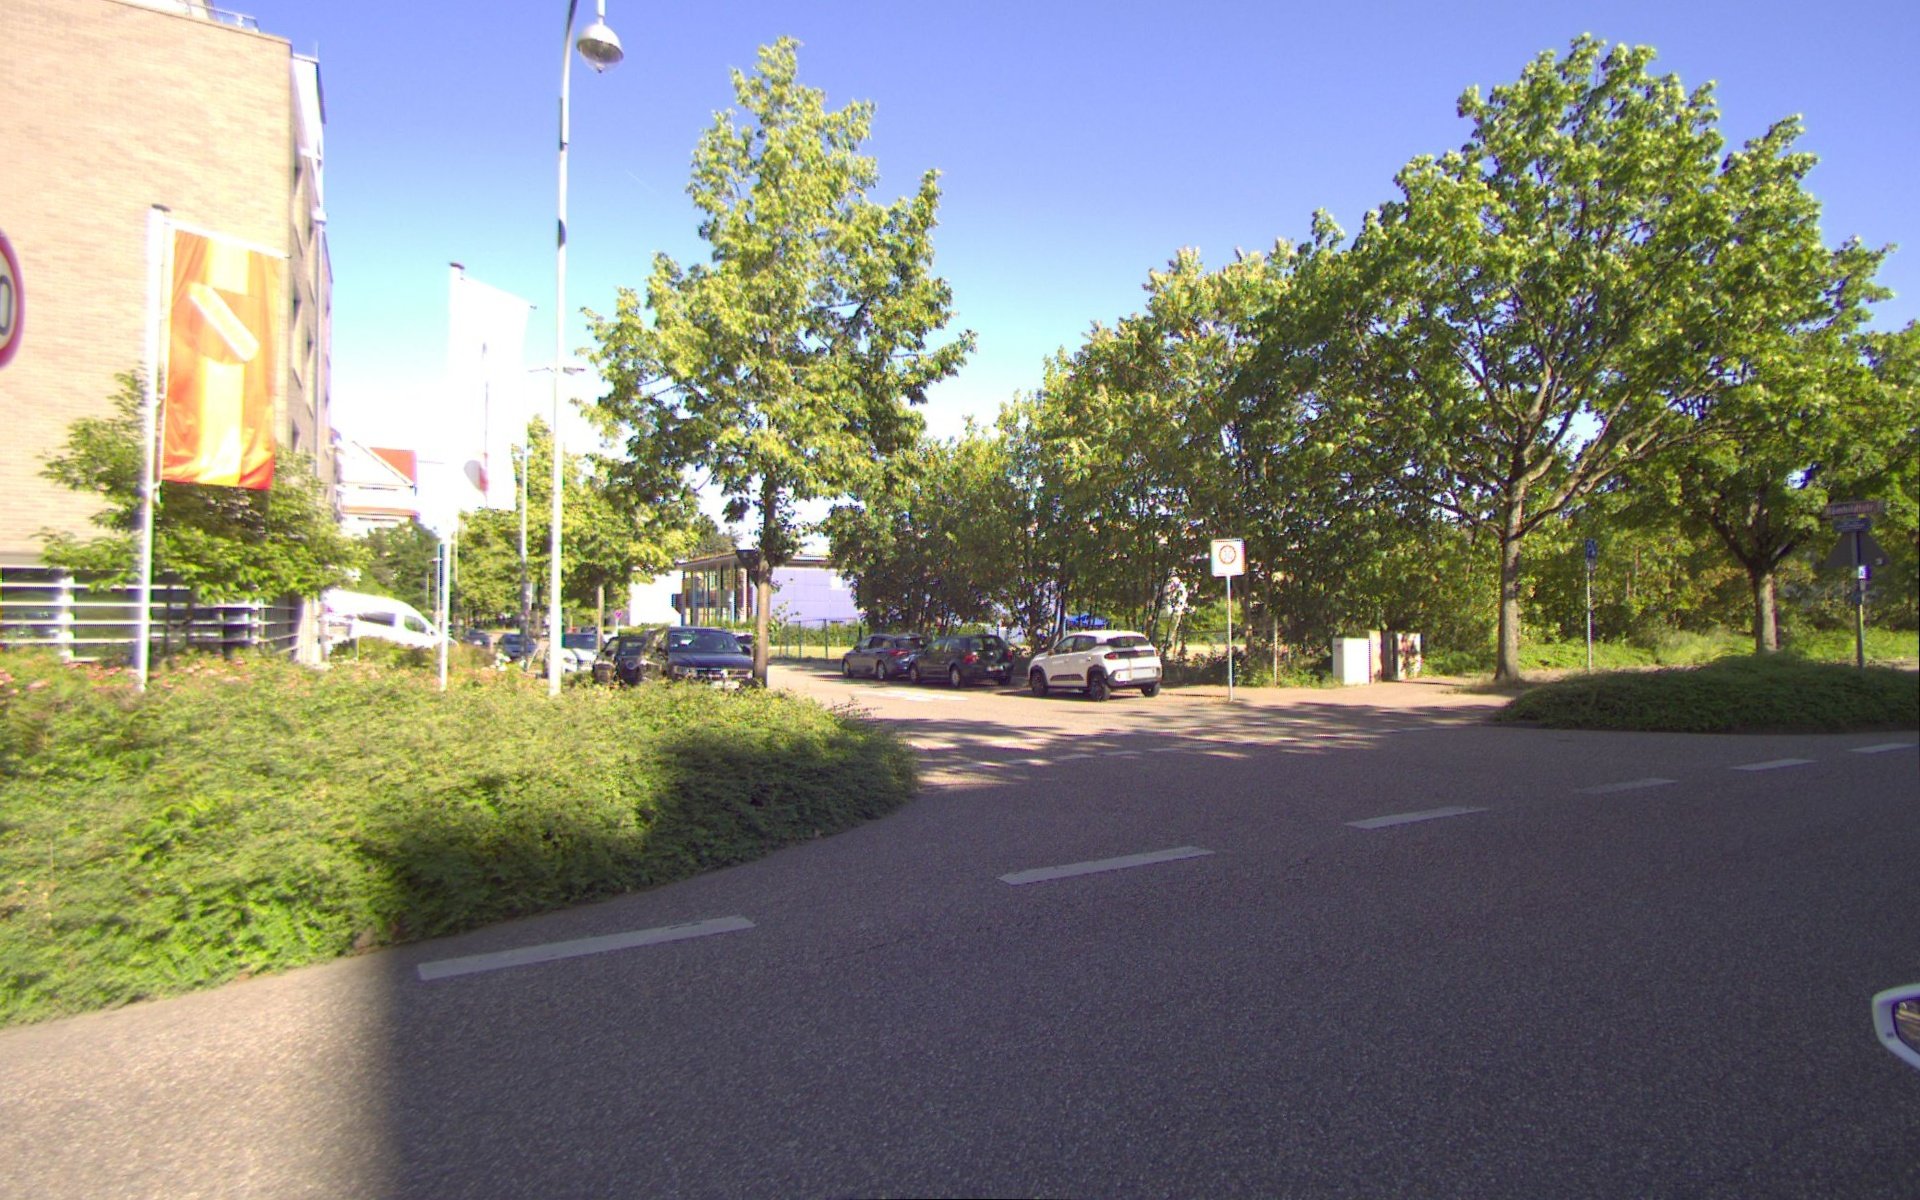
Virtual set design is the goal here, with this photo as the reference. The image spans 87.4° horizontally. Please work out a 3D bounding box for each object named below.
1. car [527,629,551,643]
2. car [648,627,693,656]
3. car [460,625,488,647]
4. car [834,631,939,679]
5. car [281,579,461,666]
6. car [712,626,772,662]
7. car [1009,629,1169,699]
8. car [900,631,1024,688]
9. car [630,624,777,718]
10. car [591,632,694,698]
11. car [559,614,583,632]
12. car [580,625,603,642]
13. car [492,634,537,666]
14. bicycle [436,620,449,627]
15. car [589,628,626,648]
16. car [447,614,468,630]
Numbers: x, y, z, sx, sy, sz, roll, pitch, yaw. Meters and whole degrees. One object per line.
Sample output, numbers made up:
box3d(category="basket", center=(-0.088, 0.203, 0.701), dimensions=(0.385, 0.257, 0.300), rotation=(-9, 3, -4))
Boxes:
box3d(category="car", center=(-46.181, 3.985, 110.190), dimensions=(1.976, 1.505, 3.969), rotation=(1, -2, -30))
box3d(category="car", center=(-16.901, 2.396, 58.642), dimensions=(1.665, 1.562, 3.818), rotation=(1, -1, -30))
box3d(category="car", center=(-36.147, 2.658, 74.708), dimensions=(1.744, 1.547, 3.974), rotation=(4, -3, -26))
box3d(category="car", center=(-2.493, 1.741, 32.905), dimensions=(1.662, 1.456, 4.403), rotation=(1, -2, -31))
box3d(category="car", center=(-21.906, 0.895, 37.554), dimensions=(5.412, 2.412, 1.904), rotation=(11, -7, -33))
box3d(category="car", center=(-10.293, 2.055, 47.271), dimensions=(1.648, 1.533, 3.969), rotation=(1, -1, -29))
box3d(category="car", center=(2.865, 1.443, 23.154), dimensions=(1.604, 1.469, 4.062), rotation=(1, -3, -28))
box3d(category="car", center=(-0.015, 1.638, 28.630), dimensions=(1.809, 1.491, 4.037), rotation=(1, -2, -29))
box3d(category="car", center=(-5.201, 1.339, 19.951), dimensions=(1.870, 1.641, 4.308), rotation=(1, -3, -28))
box3d(category="car", center=(-8.080, 1.582, 25.364), dimensions=(1.566, 1.524, 3.756), rotation=(1, -2, -33))
box3d(category="car", center=(-45.612, 2.697, 117.699), dimensions=(2.006, 2.040, 3.969), rotation=(1, -1, -30))
box3d(category="car", center=(-43.970, 4.009, 119.908), dimensions=(1.976, 2.040, 3.969), rotation=(1, -2, -30))
box3d(category="car", center=(-22.099, 2.453, 49.756), dimensions=(1.598, 1.484, 3.842), rotation=(1, -1, -31))
box3d(category="bicycle", center=(-62.483, 2.867, 121.271), dimensions=(1.457, 0.853, 0.332), rotation=(1, 0, -34))
box3d(category="car", center=(-27.671, 2.982, 78.740), dimensions=(1.815, 1.441, 4.196), rotation=(-2, 0, -33))
box3d(category="car", center=(-50.145, 2.201, 100.203), dimensions=(1.762, 1.550, 3.969), rotation=(1, -1, -30))
